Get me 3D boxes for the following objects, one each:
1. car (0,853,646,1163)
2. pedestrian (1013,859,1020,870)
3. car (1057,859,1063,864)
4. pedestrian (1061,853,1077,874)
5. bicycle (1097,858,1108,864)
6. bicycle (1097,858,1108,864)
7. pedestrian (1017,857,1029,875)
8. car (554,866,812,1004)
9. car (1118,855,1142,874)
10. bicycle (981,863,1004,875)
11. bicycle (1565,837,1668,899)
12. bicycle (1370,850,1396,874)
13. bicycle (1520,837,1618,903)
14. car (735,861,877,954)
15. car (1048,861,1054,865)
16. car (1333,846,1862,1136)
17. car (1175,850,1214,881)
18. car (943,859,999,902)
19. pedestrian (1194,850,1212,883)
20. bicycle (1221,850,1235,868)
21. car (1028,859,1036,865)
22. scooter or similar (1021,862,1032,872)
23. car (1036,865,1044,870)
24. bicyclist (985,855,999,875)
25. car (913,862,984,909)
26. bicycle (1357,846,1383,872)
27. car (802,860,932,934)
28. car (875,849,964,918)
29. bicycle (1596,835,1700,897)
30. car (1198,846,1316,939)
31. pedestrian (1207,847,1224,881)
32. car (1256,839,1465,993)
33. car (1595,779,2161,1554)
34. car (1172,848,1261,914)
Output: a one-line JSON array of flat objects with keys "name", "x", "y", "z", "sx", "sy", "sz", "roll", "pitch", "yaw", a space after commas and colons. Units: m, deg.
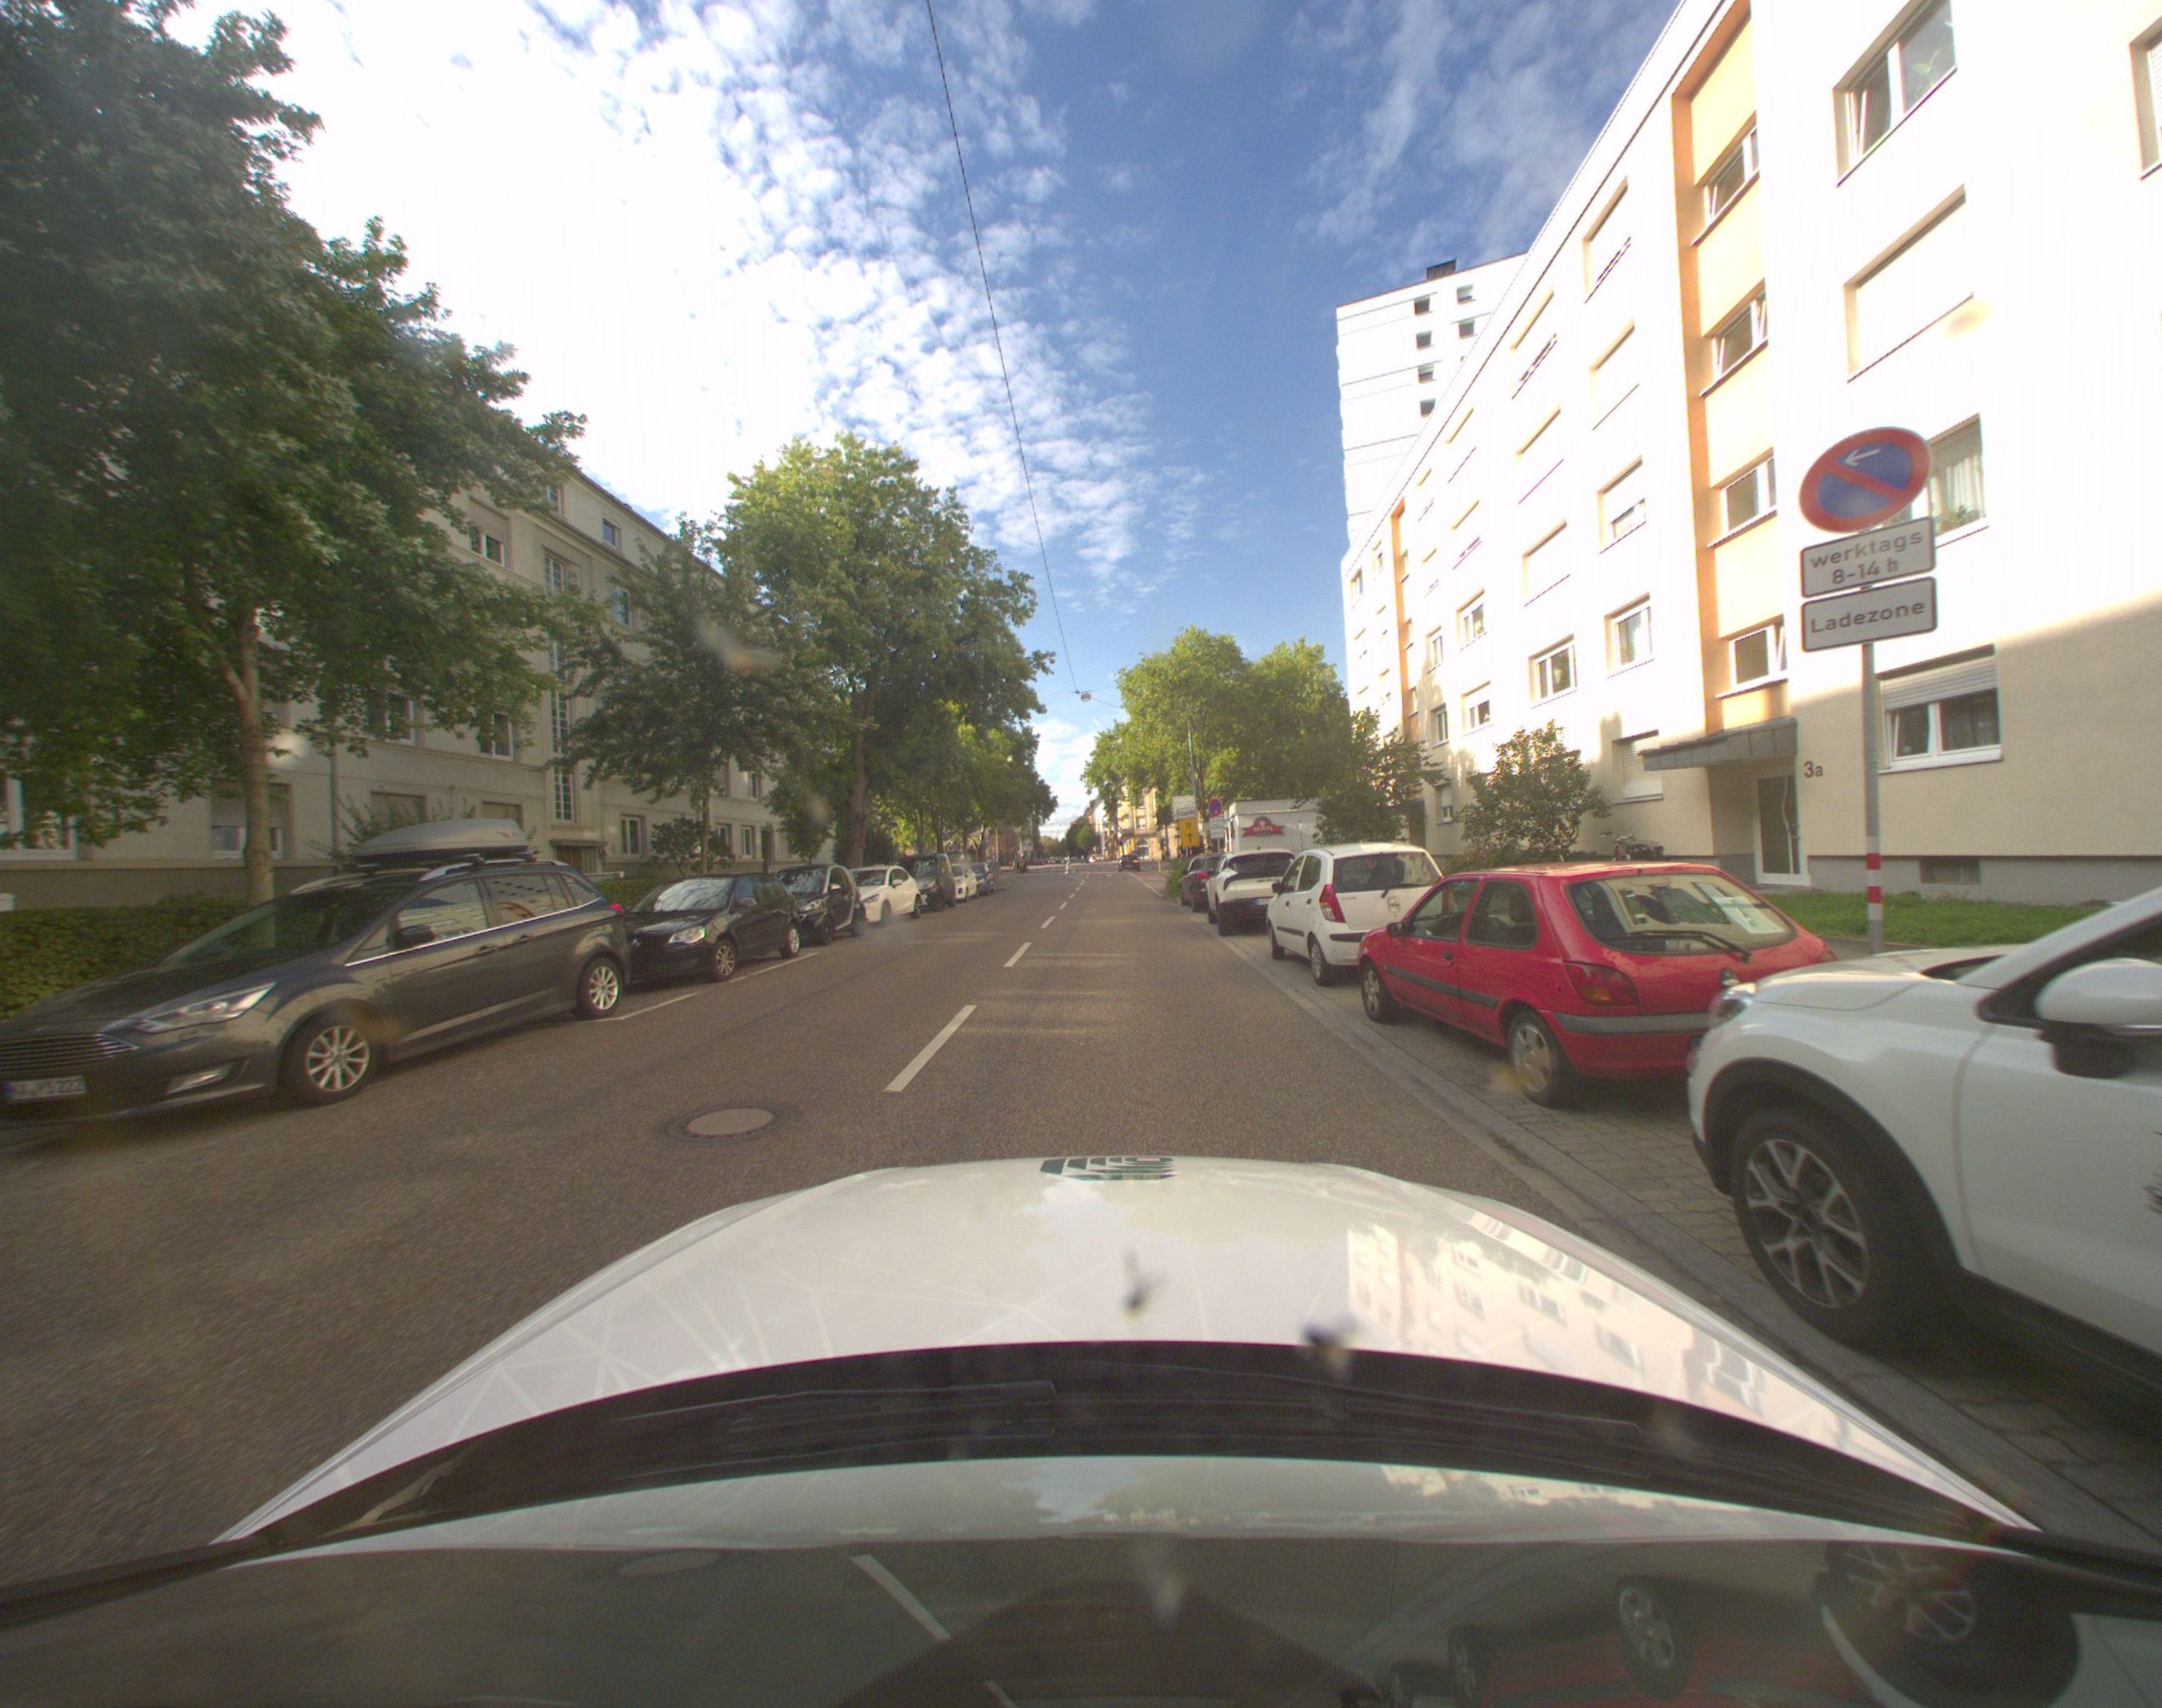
[{"name": "car", "x": -5.940, "y": 0.911, "z": 6.889, "sx": 1.792, "sy": 1.668, "sz": 4.486, "roll": -5, "pitch": 0, "yaw": 3}, {"name": "pedestrian", "x": -9.011, "y": 1.488, "z": 113.735, "sx": 0.774, "sy": 1.432, "sz": 0.735, "roll": -2, "pitch": 0, "yaw": 26}, {"name": "car", "x": -6.325, "y": 2.278, "z": 244.497, "sx": 1.772, "sy": 1.230, "sz": 3.588, "roll": -2, "pitch": 0, "yaw": 1}, {"name": "pedestrian", "x": -0.977, "y": 0.777, "z": 66.977, "sx": 1.076, "sy": 1.753, "sz": 0.914, "roll": -2, "pitch": 0, "yaw": -15}, {"name": "bicycle", "x": 4.052, "y": 1.330, "z": 154.616, "sx": 2.024, "sy": 1.082, "sz": 0.618, "roll": -3, "pitch": 0, "yaw": -12}, {"name": "bicycle", "x": 4.146, "y": 1.342, "z": 155.273, "sx": 2.024, "sy": 1.082, "sz": 0.628, "roll": -3, "pitch": 0, "yaw": -12}, {"name": "pedestrian", "x": -5.545, "y": 1.185, "z": 78.306, "sx": 0.808, "sy": 1.654, "sz": 1.079, "roll": -3, "pitch": 0, "yaw": 11}, {"name": "car", "x": -5.477, "y": 1.013, "z": 11.831, "sx": 1.694, "sy": 1.487, "sz": 3.848, "roll": -5, "pitch": 0, "yaw": 0}, {"name": "car", "x": 3.974, "y": 0.813, "z": 66.545, "sx": 1.745, "sy": 1.413, "sz": 4.001, "roll": -2, "pitch": 0, "yaw": 1}, {"name": "bicycle", "x": -7.864, "y": 1.363, "z": 72.280, "sx": 1.925, "sy": 0.994, "sz": 0.759, "roll": -2, "pitch": 0, "yaw": -18}, {"name": "bicycle", "x": 10.558, "y": 0.259, "z": 16.173, "sx": 0.594, "sy": 1.115, "sz": 2.210, "roll": -4, "pitch": 0, "yaw": 2}, {"name": "bicycle", "x": 12.794, "y": 0.323, "z": 34.507, "sx": 0.476, "sy": 0.963, "sz": 1.552, "roll": -2, "pitch": 0, "yaw": -1}, {"name": "bicycle", "x": 9.748, "y": 0.298, "z": 16.377, "sx": 0.595, "sy": 1.186, "sz": 2.210, "roll": -6, "pitch": 0, "yaw": 2}, {"name": "car", "x": -5.377, "y": 0.987, "z": 16.291, "sx": 1.546, "sy": 1.520, "sz": 3.019, "roll": -5, "pitch": 0, "yaw": 3}, {"name": "car", "x": -9.092, "y": 2.688, "z": 244.173, "sx": 1.545, "sy": 1.230, "sz": 3.588, "roll": -2, "pitch": 0, "yaw": 1}, {"name": "car", "x": 3.264, "y": 0.723, "z": 6.080, "sx": 1.511, "sy": 1.398, "sz": 3.674, "roll": -4, "pitch": 0, "yaw": -1}, {"name": "car", "x": 5.895, "y": 0.583, "z": 42.661, "sx": 1.752, "sy": 1.411, "sz": 4.239, "roll": -4, "pitch": 0, "yaw": 5}, {"name": "car", "x": -4.764, "y": 1.100, "z": 35.744, "sx": 1.793, "sy": 1.620, "sz": 3.803, "roll": -5, "pitch": 0, "yaw": 0}, {"name": "pedestrian", "x": 5.892, "y": 0.601, "z": 39.428, "sx": 0.650, "sy": 1.538, "sz": 0.743, "roll": -4, "pitch": 0, "yaw": 2}, {"name": "bicycle", "x": 10.427, "y": 0.344, "z": 57.895, "sx": 0.765, "sy": 1.206, "sz": 1.818, "roll": -4, "pitch": 0, "yaw": 5}, {"name": "car", "x": -11.990, "y": 1.934, "z": 199.607, "sx": 1.545, "sy": 1.230, "sz": 3.588, "roll": -2, "pitch": 0, "yaw": 1}, {"name": "scooter or similar", "x": -5.314, "y": 1.281, "z": 79.446, "sx": 0.800, "sy": 0.923, "sz": 1.017, "roll": -3, "pitch": 0, "yaw": 10}, {"name": "car", "x": -9.605, "y": 3.154, "z": 189.985, "sx": 1.545, "sy": 1.230, "sz": 3.588, "roll": -2, "pitch": 0, "yaw": 1}, {"name": "bicyclist", "x": -7.873, "y": 0.971, "z": 72.250, "sx": 1.112, "sy": 1.691, "sz": 0.810, "roll": -2, "pitch": 0, "yaw": -15}, {"name": "car", "x": -4.983, "y": 1.148, "z": 31.170, "sx": 1.792, "sy": 1.493, "sz": 3.806, "roll": -5, "pitch": 0, "yaw": 3}, {"name": "bicycle", "x": 12.239, "y": 0.228, "z": 34.513, "sx": 0.520, "sy": 1.056, "sz": 1.552, "roll": -2, "pitch": 0, "yaw": -1}, {"name": "car", "x": -5.271, "y": 1.001, "z": 20.681, "sx": 1.686, "sy": 1.493, "sz": 4.339, "roll": -4, "pitch": 0, "yaw": 5}, {"name": "car", "x": -5.009, "y": 0.851, "z": 25.835, "sx": 1.716, "sy": 1.882, "sz": 4.193, "roll": -5, "pitch": 0, "yaw": 2}, {"name": "bicycle", "x": 11.175, "y": 0.222, "z": 16.150, "sx": 0.527, "sy": 1.115, "sz": 2.210, "roll": -4, "pitch": 0, "yaw": 2}, {"name": "car", "x": 3.364, "y": 0.664, "z": 16.263, "sx": 1.682, "sy": 1.528, "sz": 4.243, "roll": -3, "pitch": 0, "yaw": 5}, {"name": "pedestrian", "x": 6.615, "y": 0.499, "z": 40.013, "sx": 0.650, "sy": 1.645, "sz": 0.743, "roll": -2, "pitch": 0, "yaw": 2}, {"name": "car", "x": 3.328, "y": 0.654, "z": 10.363, "sx": 1.545, "sy": 1.557, "sz": 3.470, "roll": -3, "pitch": 0, "yaw": 2}, {"name": "car", "x": 3.012, "y": 0.580, "z": 1.296, "sx": 1.723, "sy": 1.580, "sz": 4.117, "roll": -4, "pitch": 0, "yaw": 0}, {"name": "car", "x": 3.578, "y": 0.663, "z": 22.136, "sx": 1.684, "sy": 1.528, "sz": 4.238, "roll": -4, "pitch": 0, "yaw": 1}]
